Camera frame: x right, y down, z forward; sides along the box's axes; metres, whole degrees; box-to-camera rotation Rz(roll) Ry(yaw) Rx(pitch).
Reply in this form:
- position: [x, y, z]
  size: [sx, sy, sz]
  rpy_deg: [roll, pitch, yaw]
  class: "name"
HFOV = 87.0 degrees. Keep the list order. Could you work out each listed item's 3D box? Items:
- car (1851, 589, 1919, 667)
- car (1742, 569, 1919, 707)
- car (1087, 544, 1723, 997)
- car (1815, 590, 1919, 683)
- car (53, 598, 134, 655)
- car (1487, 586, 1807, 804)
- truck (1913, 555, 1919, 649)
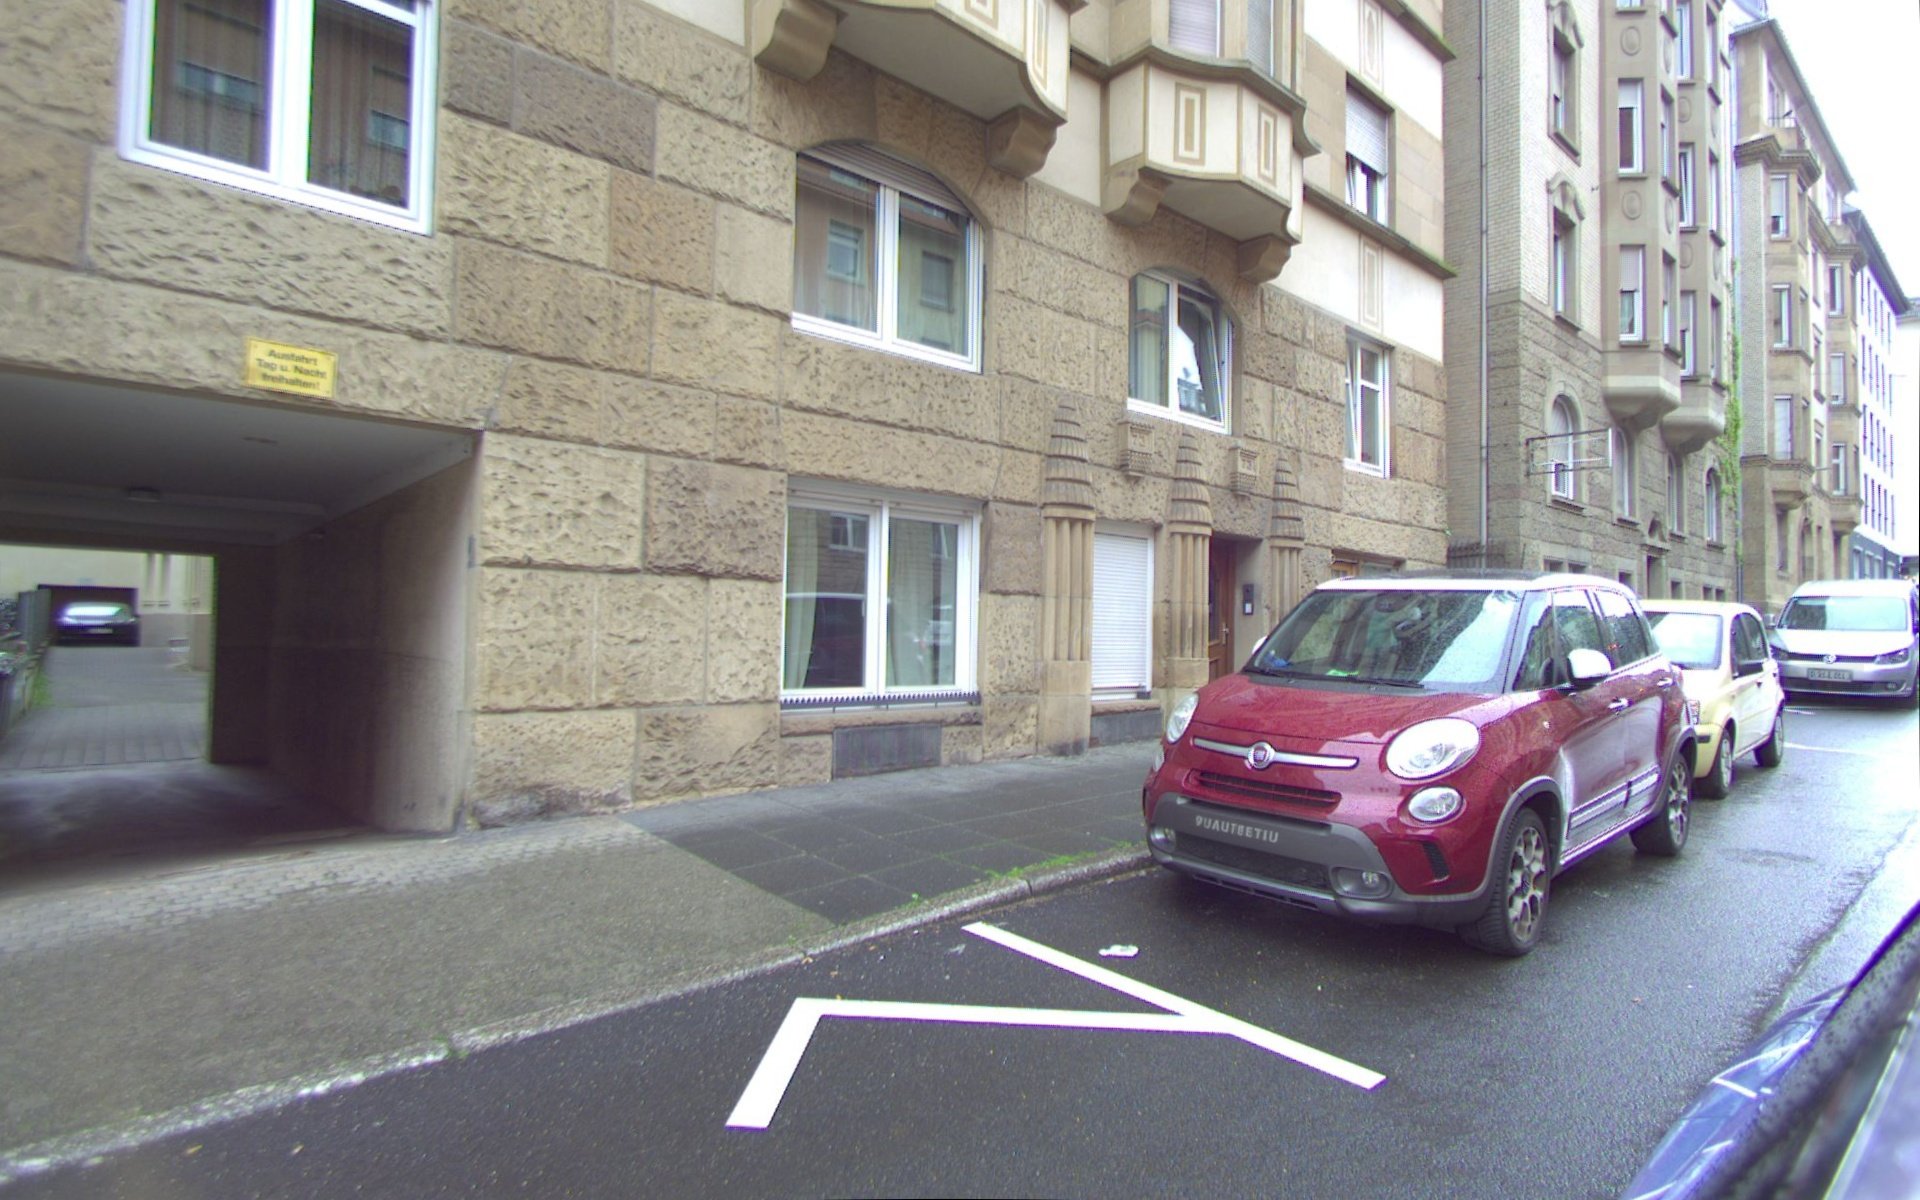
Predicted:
- position: [20.477, 0.554, 21.442]
  size: [3.860, 1.549, 1.889]
  rpy_deg: [0, -1, -41]
  class: "car"
- position: [13.763, 0.505, 15.511]
  size: [4.380, 1.825, 1.966]
  rpy_deg: [0, -1, -41]
  class: "car"
- position: [2.679, 0.613, 5.632]
  size: [3.932, 1.619, 1.804]
  rpy_deg: [0, -1, -42]
  class: "car"
- position: [17.171, 0.606, 18.502]
  size: [3.934, 1.549, 1.994]
  rpy_deg: [0, -1, -45]
  class: "car"
- position: [-25.185, 0.726, 29.457]
  size: [1.692, 1.541, 4.098]
  rpy_deg: [0, -1, -41]
  class: "car"
- position: [6.200, 0.678, 8.994]
  size: [3.517, 1.549, 1.578]
  rpy_deg: [0, -1, -43]
  class: "car"
- position: [29.163, 0.033, 28.881]
  size: [6.036, 2.568, 2.234]
  rpy_deg: [0, -1, -41]
  class: "truck"
